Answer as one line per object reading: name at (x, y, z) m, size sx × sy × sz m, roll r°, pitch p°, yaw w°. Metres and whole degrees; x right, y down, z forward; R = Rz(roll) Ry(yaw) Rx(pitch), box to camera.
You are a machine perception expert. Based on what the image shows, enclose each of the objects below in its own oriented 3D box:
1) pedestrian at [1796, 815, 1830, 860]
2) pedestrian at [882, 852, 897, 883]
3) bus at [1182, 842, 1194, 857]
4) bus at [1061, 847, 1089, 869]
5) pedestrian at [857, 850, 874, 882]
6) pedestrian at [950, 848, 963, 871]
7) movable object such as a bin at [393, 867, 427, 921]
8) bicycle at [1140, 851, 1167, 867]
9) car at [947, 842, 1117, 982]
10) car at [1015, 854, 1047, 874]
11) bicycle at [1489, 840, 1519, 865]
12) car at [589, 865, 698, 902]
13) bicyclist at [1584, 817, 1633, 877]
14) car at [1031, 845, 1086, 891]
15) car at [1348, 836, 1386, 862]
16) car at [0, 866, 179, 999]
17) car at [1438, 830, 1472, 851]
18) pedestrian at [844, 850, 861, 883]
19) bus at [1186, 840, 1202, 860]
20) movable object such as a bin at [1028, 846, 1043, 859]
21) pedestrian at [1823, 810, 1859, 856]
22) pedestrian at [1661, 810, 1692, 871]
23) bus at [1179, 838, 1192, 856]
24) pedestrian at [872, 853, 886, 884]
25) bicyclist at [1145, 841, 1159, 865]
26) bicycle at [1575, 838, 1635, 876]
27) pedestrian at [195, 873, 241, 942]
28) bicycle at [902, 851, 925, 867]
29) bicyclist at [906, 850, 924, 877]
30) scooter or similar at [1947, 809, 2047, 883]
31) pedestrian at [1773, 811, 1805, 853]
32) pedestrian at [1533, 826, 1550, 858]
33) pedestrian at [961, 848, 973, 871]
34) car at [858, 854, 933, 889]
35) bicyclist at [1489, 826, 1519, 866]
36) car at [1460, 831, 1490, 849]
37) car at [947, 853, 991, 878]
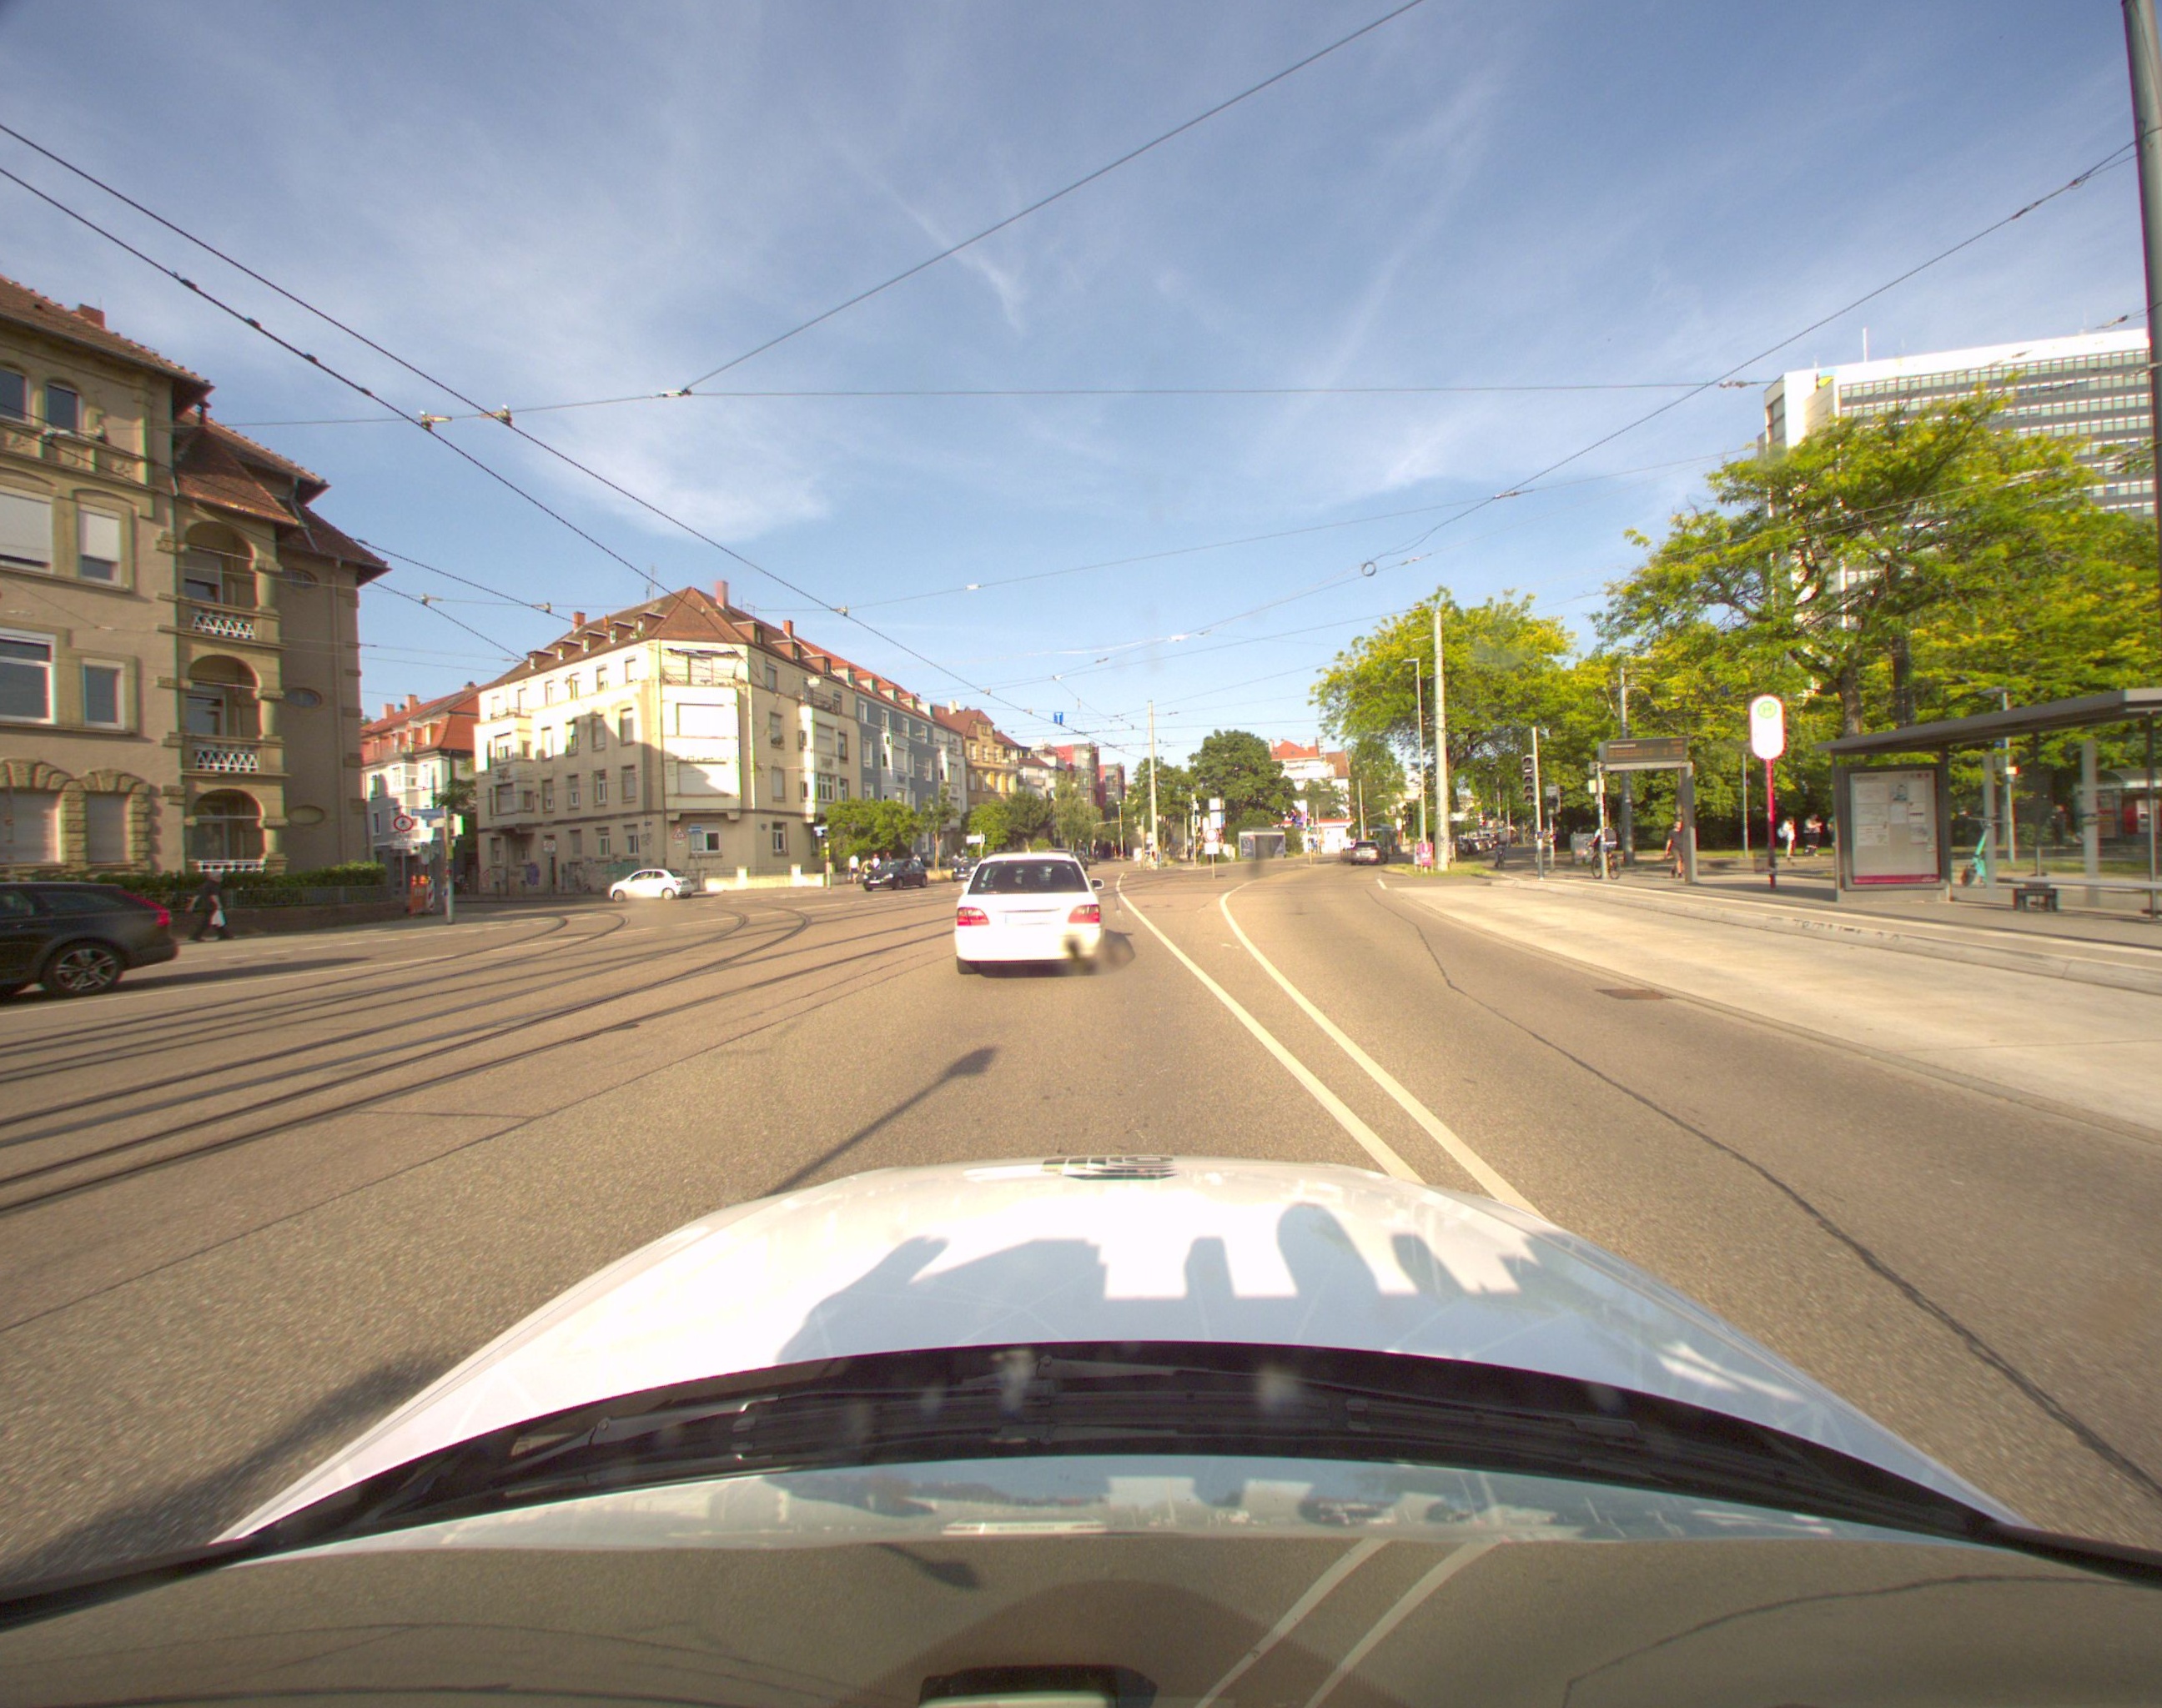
pedestrian at (28.165, -0.630, 31.357) m, size 0.638 × 1.665 × 0.691 m, roll -2°, pitch 0°, yaw 5°
pedestrian at (-11.768, 0.819, 50.026) m, size 0.581 × 1.881 × 0.628 m, roll -2°, pitch 0°, yaw 10°
bus at (17.070, -0.677, 130.364) m, size 1.788 × 2.333 × 4.007 m, roll 0°, pitch 0°, yaw 6°
bus at (-0.446, 0.291, 65.498) m, size 1.835 × 1.636 × 4.165 m, roll -2°, pitch 0°, yaw 5°
pedestrian at (-12.639, 0.697, 47.736) m, size 0.669 × 1.848 × 0.652 m, roll -2°, pitch 0°, yaw 12°
pedestrian at (-9.878, 0.420, 64.613) m, size 0.635 × 1.751 × 0.913 m, roll -2°, pitch 0°, yaw 8°
movable object such as a bin at (-22.643, 1.314, 27.502) m, size 0.265 × 1.709 × 2.362 m, roll -2°, pitch 0°, yaw -26°
bicycle at (5.324, 0.357, 59.777) m, size 1.905 × 0.994 × 0.728 m, roll -4°, pitch 0°, yaw 5°
car at (-0.693, 0.616, 10.785) m, size 1.832 × 1.501 × 3.808 m, roll -1°, pitch 0°, yaw -5°
car at (-3.910, 0.746, 63.853) m, size 1.679 × 1.420 × 4.009 m, roll -2°, pitch 0°, yaw 8°
bicycle at (19.174, -0.067, 36.960) m, size 0.637 × 1.088 × 1.738 m, roll -5°, pitch 0°, yaw 9°
car at (-20.195, 1.368, 37.710) m, size 3.972 × 1.457 × 1.801 m, roll -3°, pitch 0°, yaw 1°
bicyclist at (16.064, -0.206, 24.818) m, size 0.646 × 1.745 × 1.141 m, roll -5°, pitch -1°, yaw 3°
car at (-0.785, 0.489, 30.972) m, size 1.634 × 1.600 × 3.820 m, roll -1°, pitch 0°, yaw 5°
car at (18.535, -0.320, 52.757) m, size 1.818 × 1.600 × 3.838 m, roll -1°, pitch 0°, yaw 27°
car at (-13.897, 1.041, 9.137) m, size 1.755 × 1.494 × 4.759 m, roll -2°, pitch 2°, yaw 11°
car at (30.813, -1.126, 67.047) m, size 1.835 × 1.515 × 4.026 m, roll -4°, pitch 0°, yaw 34°
pedestrian at (-13.361, 0.707, 47.599) m, size 0.655 × 1.881 × 0.628 m, roll -2°, pitch 0°, yaw 9°
bus at (13.752, -0.500, 99.008) m, size 1.788 × 2.413 × 4.007 m, roll 0°, pitch 0°, yaw 6°
movable object such as a bin at (-5.200, -0.186, 92.207) m, size 1.599 × 1.421 × 1.084 m, roll -3°, pitch 0°, yaw -2°
pedestrian at (28.482, -0.779, 30.521) m, size 0.638 × 1.665 × 0.691 m, roll -2°, pitch 0°, yaw 5°
pedestrian at (17.744, -0.396, 24.264) m, size 0.573 × 1.777 × 0.590 m, roll 0°, pitch 0°, yaw 13°
bus at (14.703, -0.942, 114.648) m, size 1.788 × 2.555 × 4.008 m, roll 0°, pitch 0°, yaw 7°
pedestrian at (-12.388, 0.891, 50.021) m, size 0.581 × 1.881 × 0.628 m, roll -2°, pitch 0°, yaw 9°
bicyclist at (5.229, -0.048, 59.777) m, size 0.895 × 1.699 × 0.733 m, roll -4°, pitch 0°, yaw 5°
bicycle at (16.114, 0.080, 25.120) m, size 0.637 × 1.088 × 1.942 m, roll -5°, pitch 0°, yaw 4°
pedestrian at (-21.294, 1.300, 20.093) m, size 0.672 × 1.651 × 0.608 m, roll -2°, pitch 0°, yaw 32°
bicycle at (-10.642, 0.329, 51.779) m, size 0.765 × 0.965 × 2.038 m, roll -2°, pitch 0°, yaw 6°
bicyclist at (-10.577, 0.587, 51.940) m, size 0.756 × 1.668 × 1.169 m, roll -2°, pitch 0°, yaw 6°
scooter or similar at (16.084, -0.140, 14.335) m, size 0.351 × 1.232 × 1.132 m, roll -2°, pitch 0°, yaw -9°
pedestrian at (28.073, -0.863, 32.281) m, size 0.638 × 1.610 × 0.691 m, roll -2°, pitch 0°, yaw 5°
pedestrian at (24.172, -0.638, 42.780) m, size 0.635 × 1.665 × 0.694 m, roll -2°, pitch 0°, yaw 21°
pedestrian at (-8.973, 0.420, 64.301) m, size 0.635 × 1.751 × 0.913 m, roll -2°, pitch 0°, yaw 8°
car at (-8.718, 0.789, 38.621) m, size 1.754 × 1.433 × 4.017 m, roll -2°, pitch 0°, yaw 15°
bicyclist at (19.126, -0.360, 36.846) m, size 0.716 × 1.745 × 1.143 m, roll -5°, pitch -1°, yaw 9°
car at (36.920, -1.300, 76.273) m, size 1.835 × 1.515 × 4.026 m, roll -4°, pitch 0°, yaw 34°
car at (-6.867, 0.686, 50.325) m, size 1.624 × 1.433 × 3.638 m, roll -2°, pitch 0°, yaw 9°
